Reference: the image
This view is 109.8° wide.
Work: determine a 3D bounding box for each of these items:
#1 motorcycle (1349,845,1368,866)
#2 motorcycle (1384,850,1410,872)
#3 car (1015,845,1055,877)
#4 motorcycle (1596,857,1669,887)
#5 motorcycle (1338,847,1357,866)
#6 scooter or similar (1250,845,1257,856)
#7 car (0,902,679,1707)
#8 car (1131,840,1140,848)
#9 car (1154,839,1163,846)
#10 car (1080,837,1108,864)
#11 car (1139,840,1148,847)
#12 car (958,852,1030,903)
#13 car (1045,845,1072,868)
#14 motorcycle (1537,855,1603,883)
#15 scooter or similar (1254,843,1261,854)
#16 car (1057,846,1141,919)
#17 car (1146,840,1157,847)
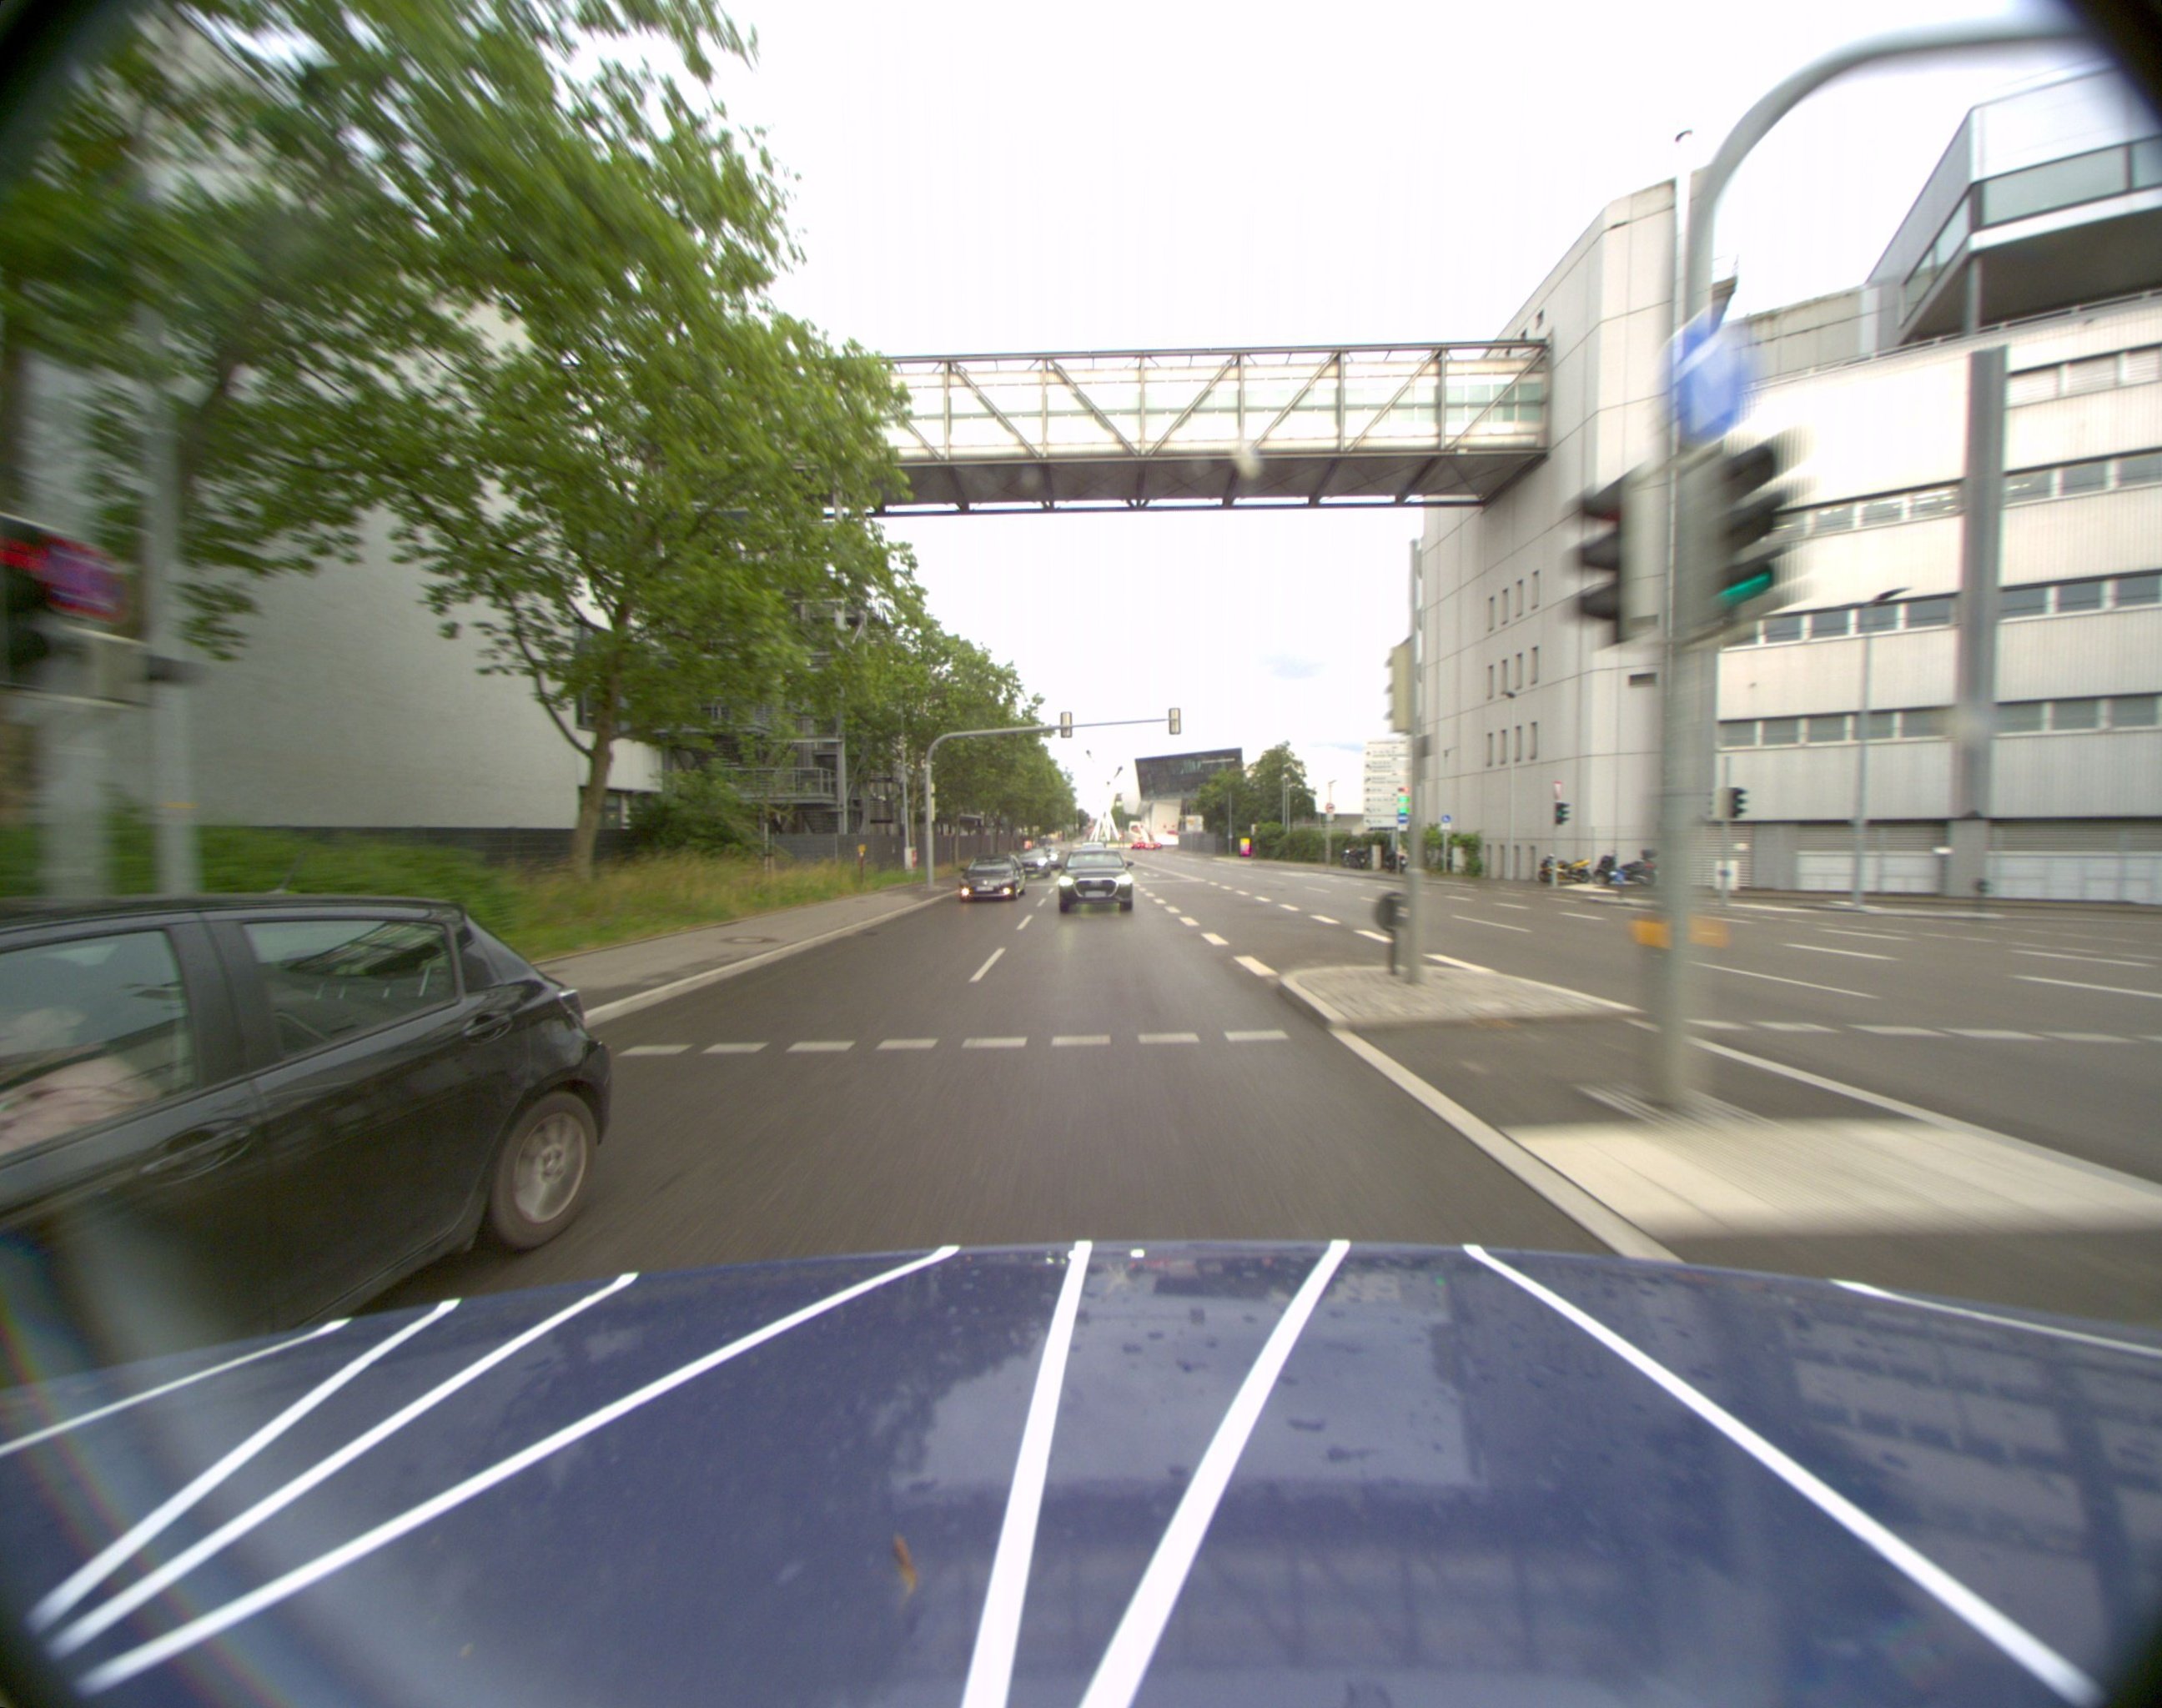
[{"bbox_3d":[17.330,0.098,47.493,0.626,1.260,2.171,-1,1,6],"label":"motorcycle"},{"bbox_3d":[17.464,0.396,42.062,0.569,1.156,2.038,1,1,-1],"label":"motorcycle"},{"bbox_3d":[-2.458,0.345,41.592,1.825,1.581,4.331,-1,1,0],"label":"car"},{"bbox_3d":[21.054,0.669,29.059,0.627,1.021,2.165,0,1,-26],"label":"motorcycle"},{"bbox_3d":[17.612,0.144,50.239,0.626,1.208,1.967,1,1,2],"label":"motorcycle"},{"bbox_3d":[17.476,-0.370,76.963,0.394,1.123,1.569,1,1,1],"label":"scooter or similar"},{"bbox_3d":[-3.013,1.043,1.637,1.749,1.461,4.640,-1,1,0],"label":"car"},{"bbox_3d":[11.623,-2.182,161.670,1.776,1.580,4.485,1,1,2],"label":"car"},{"bbox_3d":[16.987,-2.471,166.730,1.776,1.580,4.485,1,1,2],"label":"car"},{"bbox_3d":[1.008,-0.286,58.090,2.035,1.920,4.331,-1,1,0],"label":"car"},{"bbox_3d":[13.782,-2.353,168.129,1.776,1.580,4.485,1,1,2],"label":"car"},{"bbox_3d":[-2.751,0.694,24.944,1.749,1.422,4.516,-1,1,0],"label":"car"},{"bbox_3d":[-1.613,0.150,56.081,1.820,1.571,4.331,-1,1,0],"label":"car"},{"bbox_3d":[19.870,0.593,30.935,0.628,1.021,2.165,0,2,-34],"label":"motorcycle"},{"bbox_3d":[17.471,-0.556,75.270,0.394,1.123,1.569,1,1,1],"label":"scooter or similar"},{"bbox_3d":[0.412,0.596,19.503,1.820,1.536,5.607,-1,1,0],"label":"car"},{"bbox_3d":[14.882,-2.239,159.982,2.036,1.580,4.485,1,1,2],"label":"car"}]
